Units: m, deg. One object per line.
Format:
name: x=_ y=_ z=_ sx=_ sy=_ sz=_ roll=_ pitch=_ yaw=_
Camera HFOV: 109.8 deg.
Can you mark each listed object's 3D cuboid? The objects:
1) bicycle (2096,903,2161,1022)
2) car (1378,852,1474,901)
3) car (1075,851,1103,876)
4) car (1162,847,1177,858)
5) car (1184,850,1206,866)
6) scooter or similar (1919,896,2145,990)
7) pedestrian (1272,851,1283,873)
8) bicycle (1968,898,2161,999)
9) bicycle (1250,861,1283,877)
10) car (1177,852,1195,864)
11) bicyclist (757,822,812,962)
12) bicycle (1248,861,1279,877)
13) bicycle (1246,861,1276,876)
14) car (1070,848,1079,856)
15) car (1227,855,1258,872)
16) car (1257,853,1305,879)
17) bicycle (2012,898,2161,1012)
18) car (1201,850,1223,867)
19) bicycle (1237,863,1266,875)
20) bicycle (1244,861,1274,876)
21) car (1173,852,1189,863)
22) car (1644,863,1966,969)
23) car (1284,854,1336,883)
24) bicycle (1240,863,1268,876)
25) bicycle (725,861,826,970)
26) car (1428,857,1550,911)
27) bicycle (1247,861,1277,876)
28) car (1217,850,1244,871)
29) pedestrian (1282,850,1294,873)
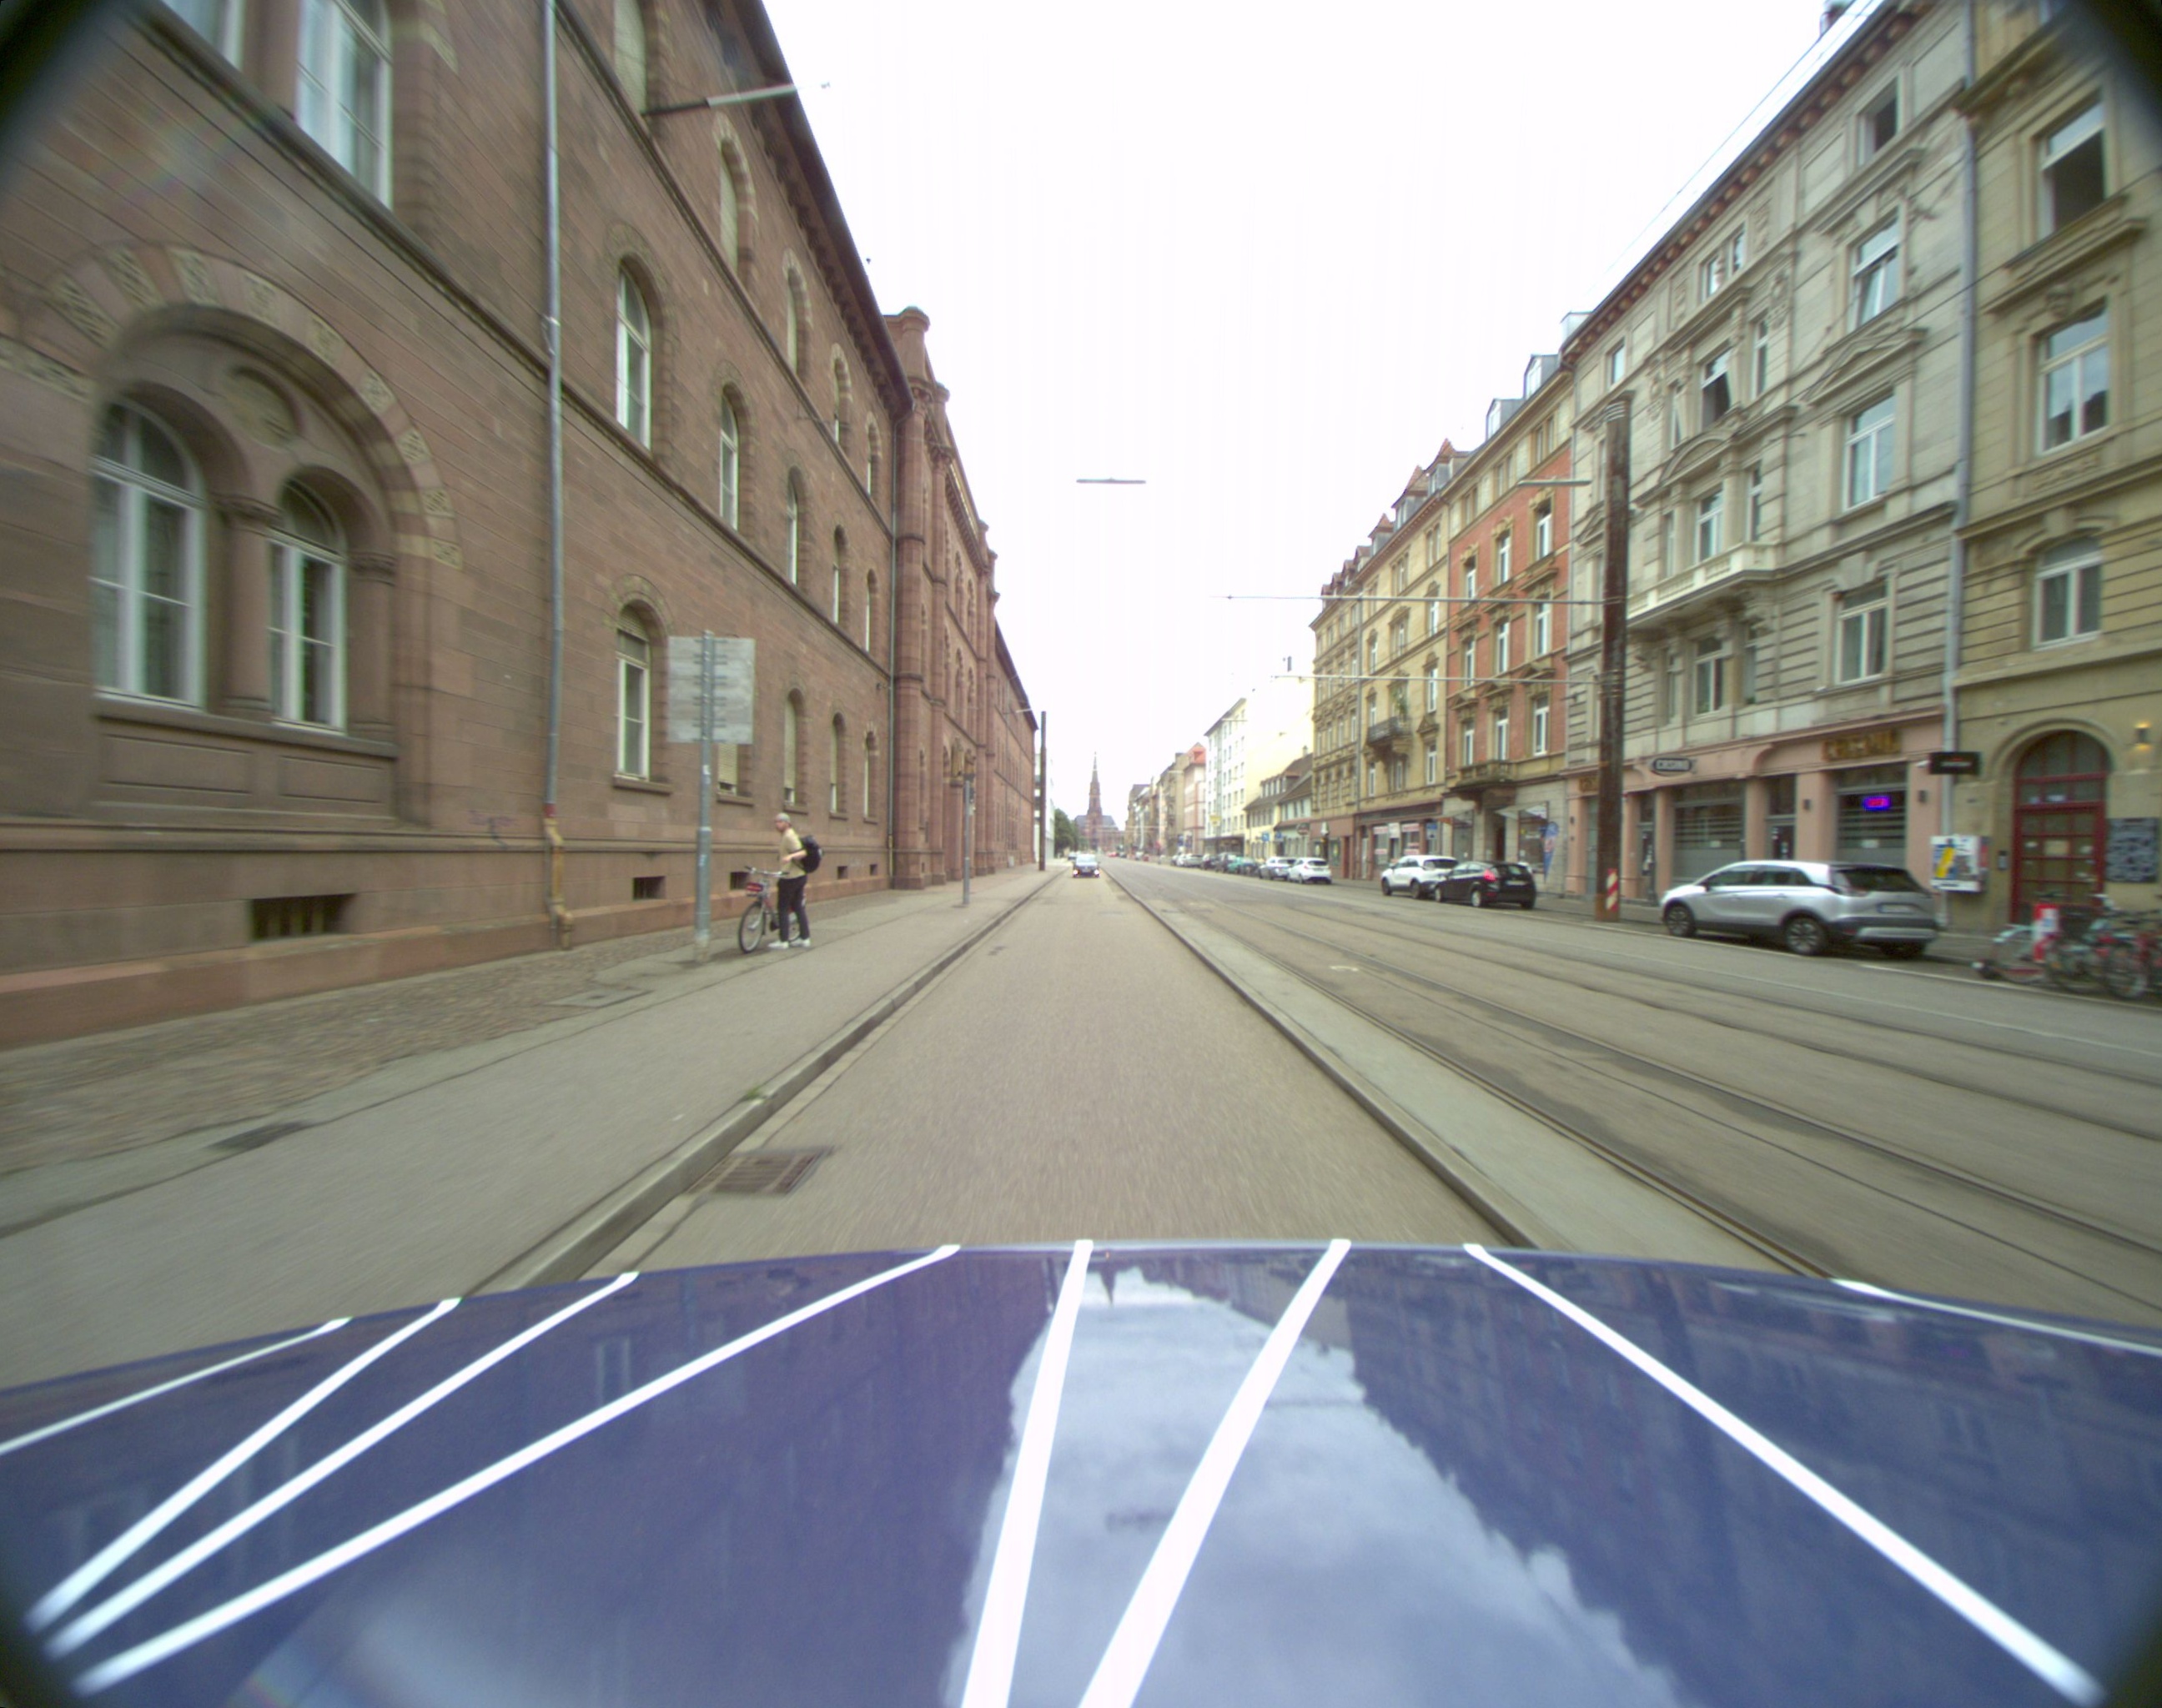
bicycle: x=12.543 y=1.152 z=8.226 sx=2.287 sy=1.197 sz=0.540 roll=-1 pitch=2 yaw=1
car: x=12.877 y=0.774 z=28.659 sx=1.748 sy=1.663 sz=4.045 roll=2 pitch=0 yaw=0
car: x=0.479 y=0.594 z=49.172 sx=1.747 sy=1.538 sz=3.649 roll=0 pitch=1 yaw=-1
car: x=13.858 y=-0.225 z=119.195 sx=1.867 sy=1.553 sz=4.000 roll=2 pitch=1 yaw=1
car: x=13.237 y=0.458 z=88.379 sx=1.928 sy=1.722 sz=3.826 roll=0 pitch=1 yaw=0
scooter or similar: x=12.727 y=1.180 z=10.204 sx=2.287 sy=1.196 sz=0.547 roll=0 pitch=1 yaw=1
pedestrian: x=14.916 y=0.617 z=57.811 sx=0.657 sy=1.607 sz=0.728 roll=0 pitch=1 yaw=0
bicycle: x=12.666 y=1.172 z=9.569 sx=2.287 sy=1.196 sz=0.547 roll=0 pitch=1 yaw=1
bicycle: x=13.000 y=1.038 z=53.294 sx=2.139 sy=1.091 sz=0.557 roll=0 pitch=1 yaw=1
car: x=13.178 y=0.458 z=95.134 sx=1.733 sy=1.443 sz=3.826 roll=0 pitch=1 yaw=0
bicyclist: x=-4.026 y=0.504 z=10.333 sx=0.530 sy=1.847 sz=0.450 roll=1 pitch=1 yaw=0
bicycle: x=12.988 y=1.054 z=54.016 sx=2.044 sy=1.091 sz=0.557 roll=0 pitch=1 yaw=1
bicycle: x=13.081 y=1.059 z=55.285 sx=2.044 sy=1.091 sz=0.557 roll=0 pitch=1 yaw=1
car: x=-1.409 y=-0.344 z=158.566 sx=1.835 sy=1.652 sz=3.999 roll=0 pitch=1 yaw=1
car: x=13.287 y=0.770 z=62.526 sx=1.651 sy=1.373 sz=3.435 roll=2 pitch=0 yaw=-3
car: x=12.537 y=0.749 z=47.830 sx=1.829 sy=1.512 sz=4.545 roll=2 pitch=0 yaw=1
bicycle: x=12.518 y=1.190 z=8.886 sx=2.287 sy=1.196 sz=0.705 roll=3 pitch=1 yaw=1
car: x=13.313 y=0.424 z=77.336 sx=1.704 sy=1.662 sz=4.181 roll=0 pitch=1 yaw=2
bicycle: x=13.051 y=1.165 z=58.236 sx=2.126 sy=0.928 sz=0.556 roll=0 pitch=1 yaw=-2
bicycle: x=13.105 y=1.043 z=56.015 sx=2.044 sy=1.091 sz=0.557 roll=0 pitch=1 yaw=1
car: x=13.388 y=0.451 z=101.563 sx=1.733 sy=1.336 sz=3.246 roll=0 pitch=1 yaw=0
car: x=12.664 y=0.975 z=13.765 sx=1.748 sy=1.524 sz=4.225 roll=2 pitch=0 yaw=0
car: x=12.945 y=0.786 z=43.182 sx=1.748 sy=1.456 sz=4.045 roll=2 pitch=0 yaw=0
bicycle: x=13.114 y=1.160 z=57.566 sx=2.044 sy=0.928 sz=0.557 roll=0 pitch=1 yaw=2
bicycle: x=-4.113 y=0.768 z=10.413 sx=0.446 sy=1.269 sz=2.226 roll=3 pitch=1 yaw=0
car: x=12.723 y=0.891 z=23.995 sx=1.748 sy=1.480 sz=3.920 roll=2 pitch=0 yaw=1
bicycle: x=12.997 y=1.048 z=54.651 sx=2.044 sy=1.091 sz=0.557 roll=0 pitch=1 yaw=1
car: x=13.203 y=0.540 z=67.148 sx=1.707 sy=1.747 sz=3.920 roll=2 pitch=1 yaw=2
pedestrian: x=15.643 y=0.571 z=57.442 sx=0.657 sy=1.702 sz=0.753 roll=0 pitch=1 yaw=0
